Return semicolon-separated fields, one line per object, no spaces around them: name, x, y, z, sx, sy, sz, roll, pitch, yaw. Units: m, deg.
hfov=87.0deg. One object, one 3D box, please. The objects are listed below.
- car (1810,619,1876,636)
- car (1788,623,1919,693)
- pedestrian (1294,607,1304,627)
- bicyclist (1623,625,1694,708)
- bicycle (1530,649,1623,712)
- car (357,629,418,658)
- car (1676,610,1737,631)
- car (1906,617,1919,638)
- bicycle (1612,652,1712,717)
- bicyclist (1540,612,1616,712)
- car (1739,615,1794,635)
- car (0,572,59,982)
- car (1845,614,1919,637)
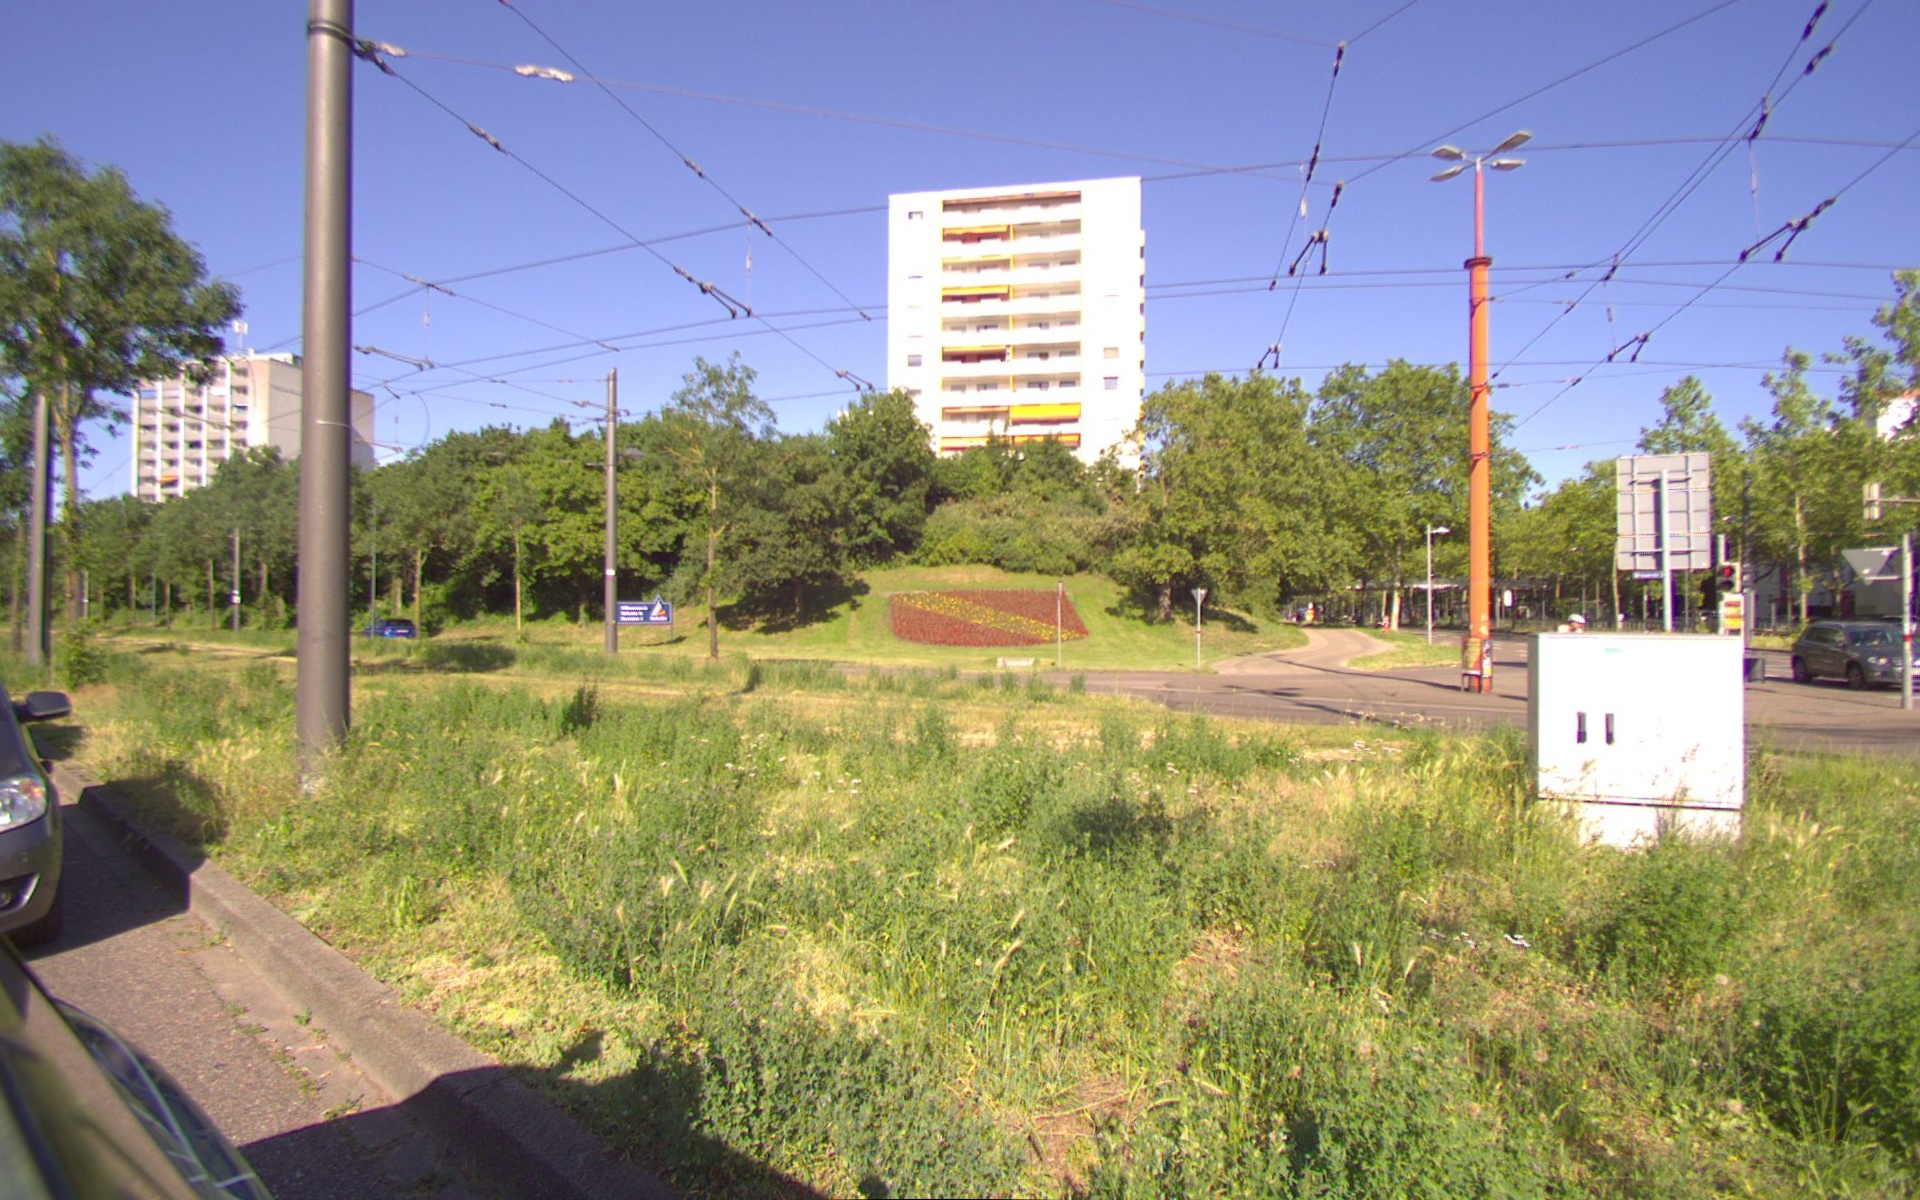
car;64.402;1.998;73.841;1.425;1.197;3.423;-1;0;-41
car;23.014;1.396;25.411;1.900;1.507;4.026;-1;0;15
pedestrian;26.589;1.309;79.423;0.681;1.568;0.985;-1;-1;19
bicyclist;13.490;1.268;19.579;0.710;1.536;0.924;-1;0;0
bicycle;12.068;1.551;19.882;0.571;1.079;1.917;-1;0;-3
car;-29.052;2.179;51.327;3.908;1.431;1.557;-2;-2;42
car;72.138;1.951;97.868;1.909;1.999;4.350;1;-2;-38
car;63.683;1.785;65.158;1.472;1.341;3.746;-1;0;-27
bicycle;13.503;1.599;19.530;0.571;1.079;1.916;-1;0;0
bicyclist;12.114;1.195;19.865;0.880;1.881;0.924;-1;0;-2
car;60.876;1.905;76.452;1.822;1.514;3.930;0;-2;15
car;-5.825;0.753;4.882;3.998;1.652;1.726;-1;0;41
car;63.798;1.752;69.990;1.589;1.471;3.656;-1;0;-38
